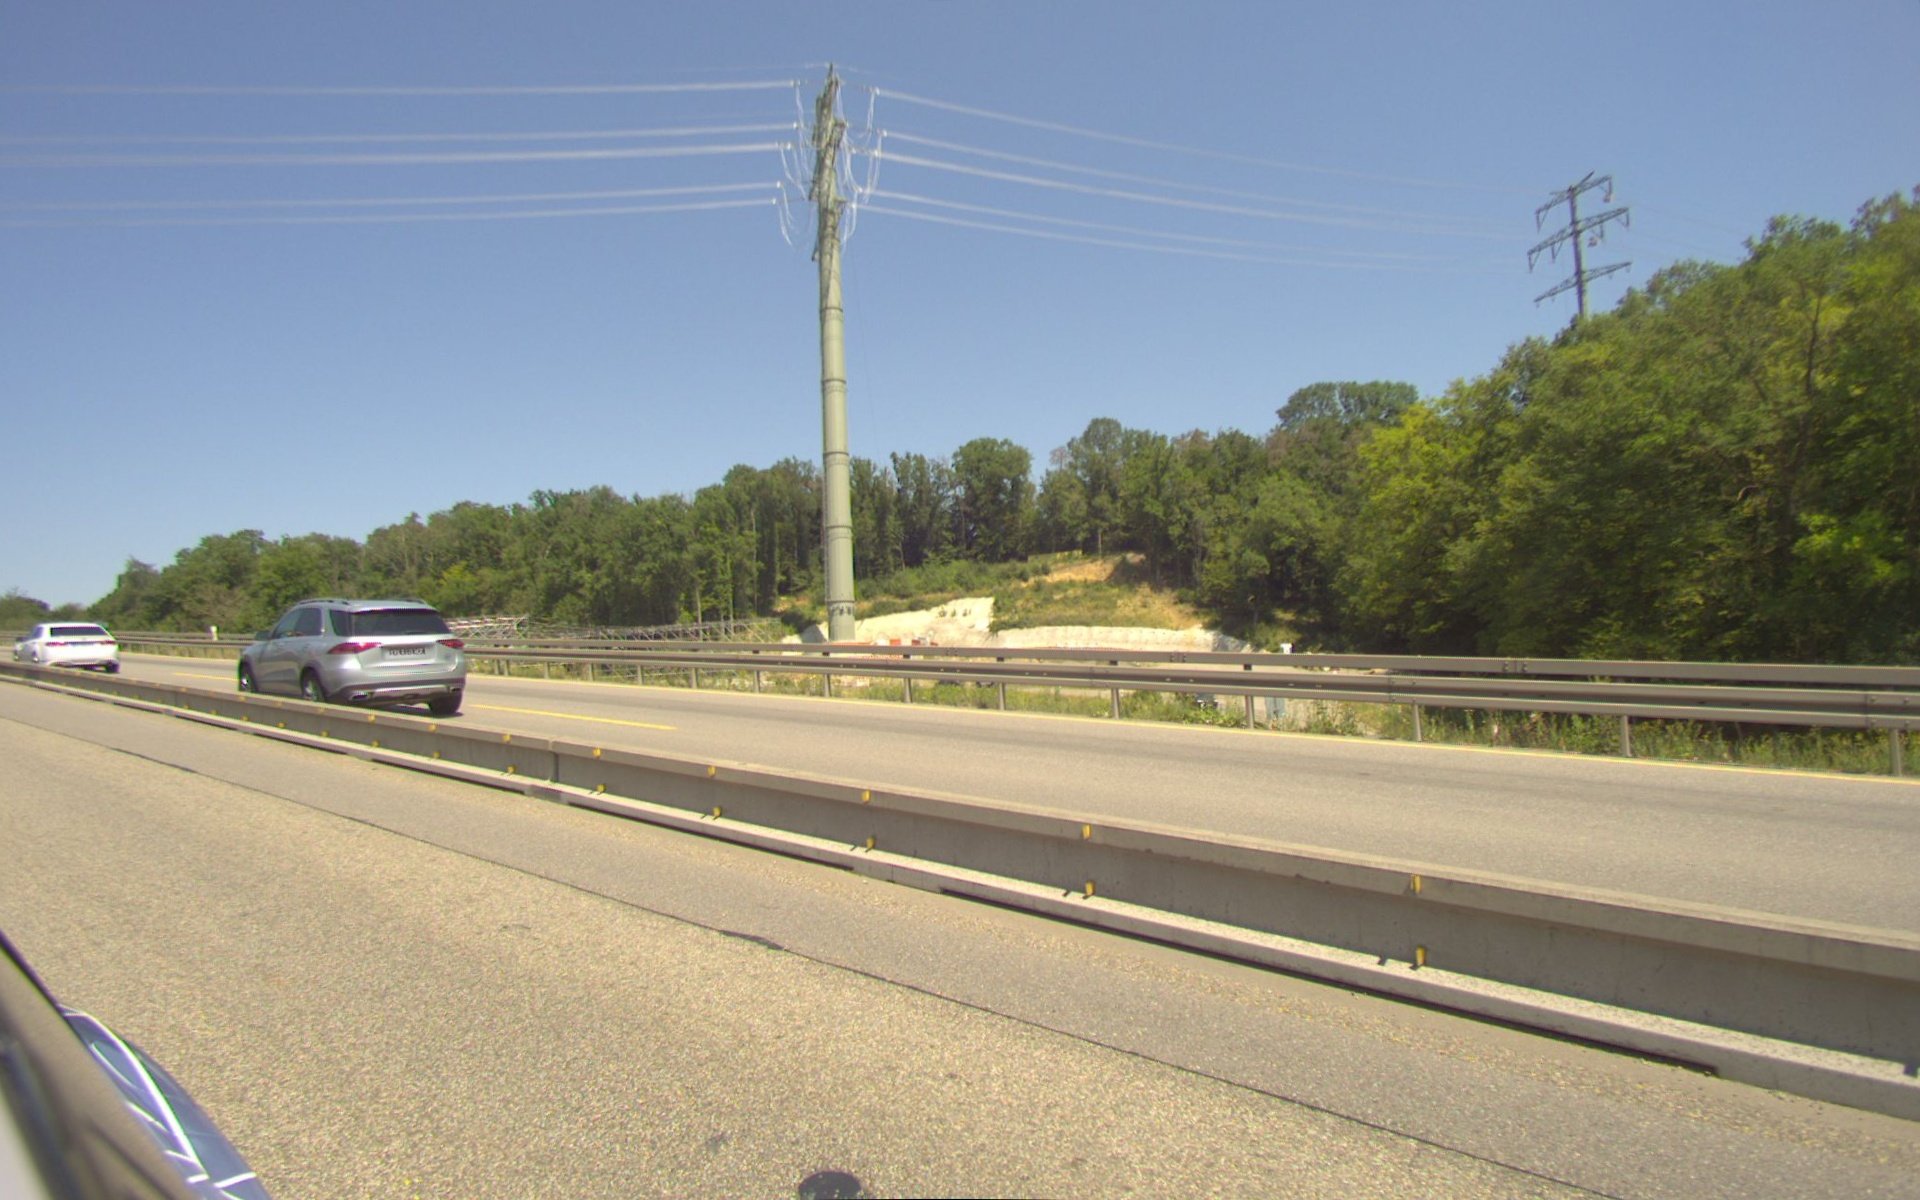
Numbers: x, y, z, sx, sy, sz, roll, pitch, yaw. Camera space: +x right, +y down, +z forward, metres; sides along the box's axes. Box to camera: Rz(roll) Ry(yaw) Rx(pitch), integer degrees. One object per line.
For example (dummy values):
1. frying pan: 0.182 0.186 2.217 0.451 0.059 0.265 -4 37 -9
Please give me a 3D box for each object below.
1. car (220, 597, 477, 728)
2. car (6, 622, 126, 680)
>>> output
1. car: -9.530 0.871 15.608 4.730 1.718 1.893 -1 -1 39
2. car: -25.734 1.423 29.087 4.472 1.498 1.893 -1 -1 39
